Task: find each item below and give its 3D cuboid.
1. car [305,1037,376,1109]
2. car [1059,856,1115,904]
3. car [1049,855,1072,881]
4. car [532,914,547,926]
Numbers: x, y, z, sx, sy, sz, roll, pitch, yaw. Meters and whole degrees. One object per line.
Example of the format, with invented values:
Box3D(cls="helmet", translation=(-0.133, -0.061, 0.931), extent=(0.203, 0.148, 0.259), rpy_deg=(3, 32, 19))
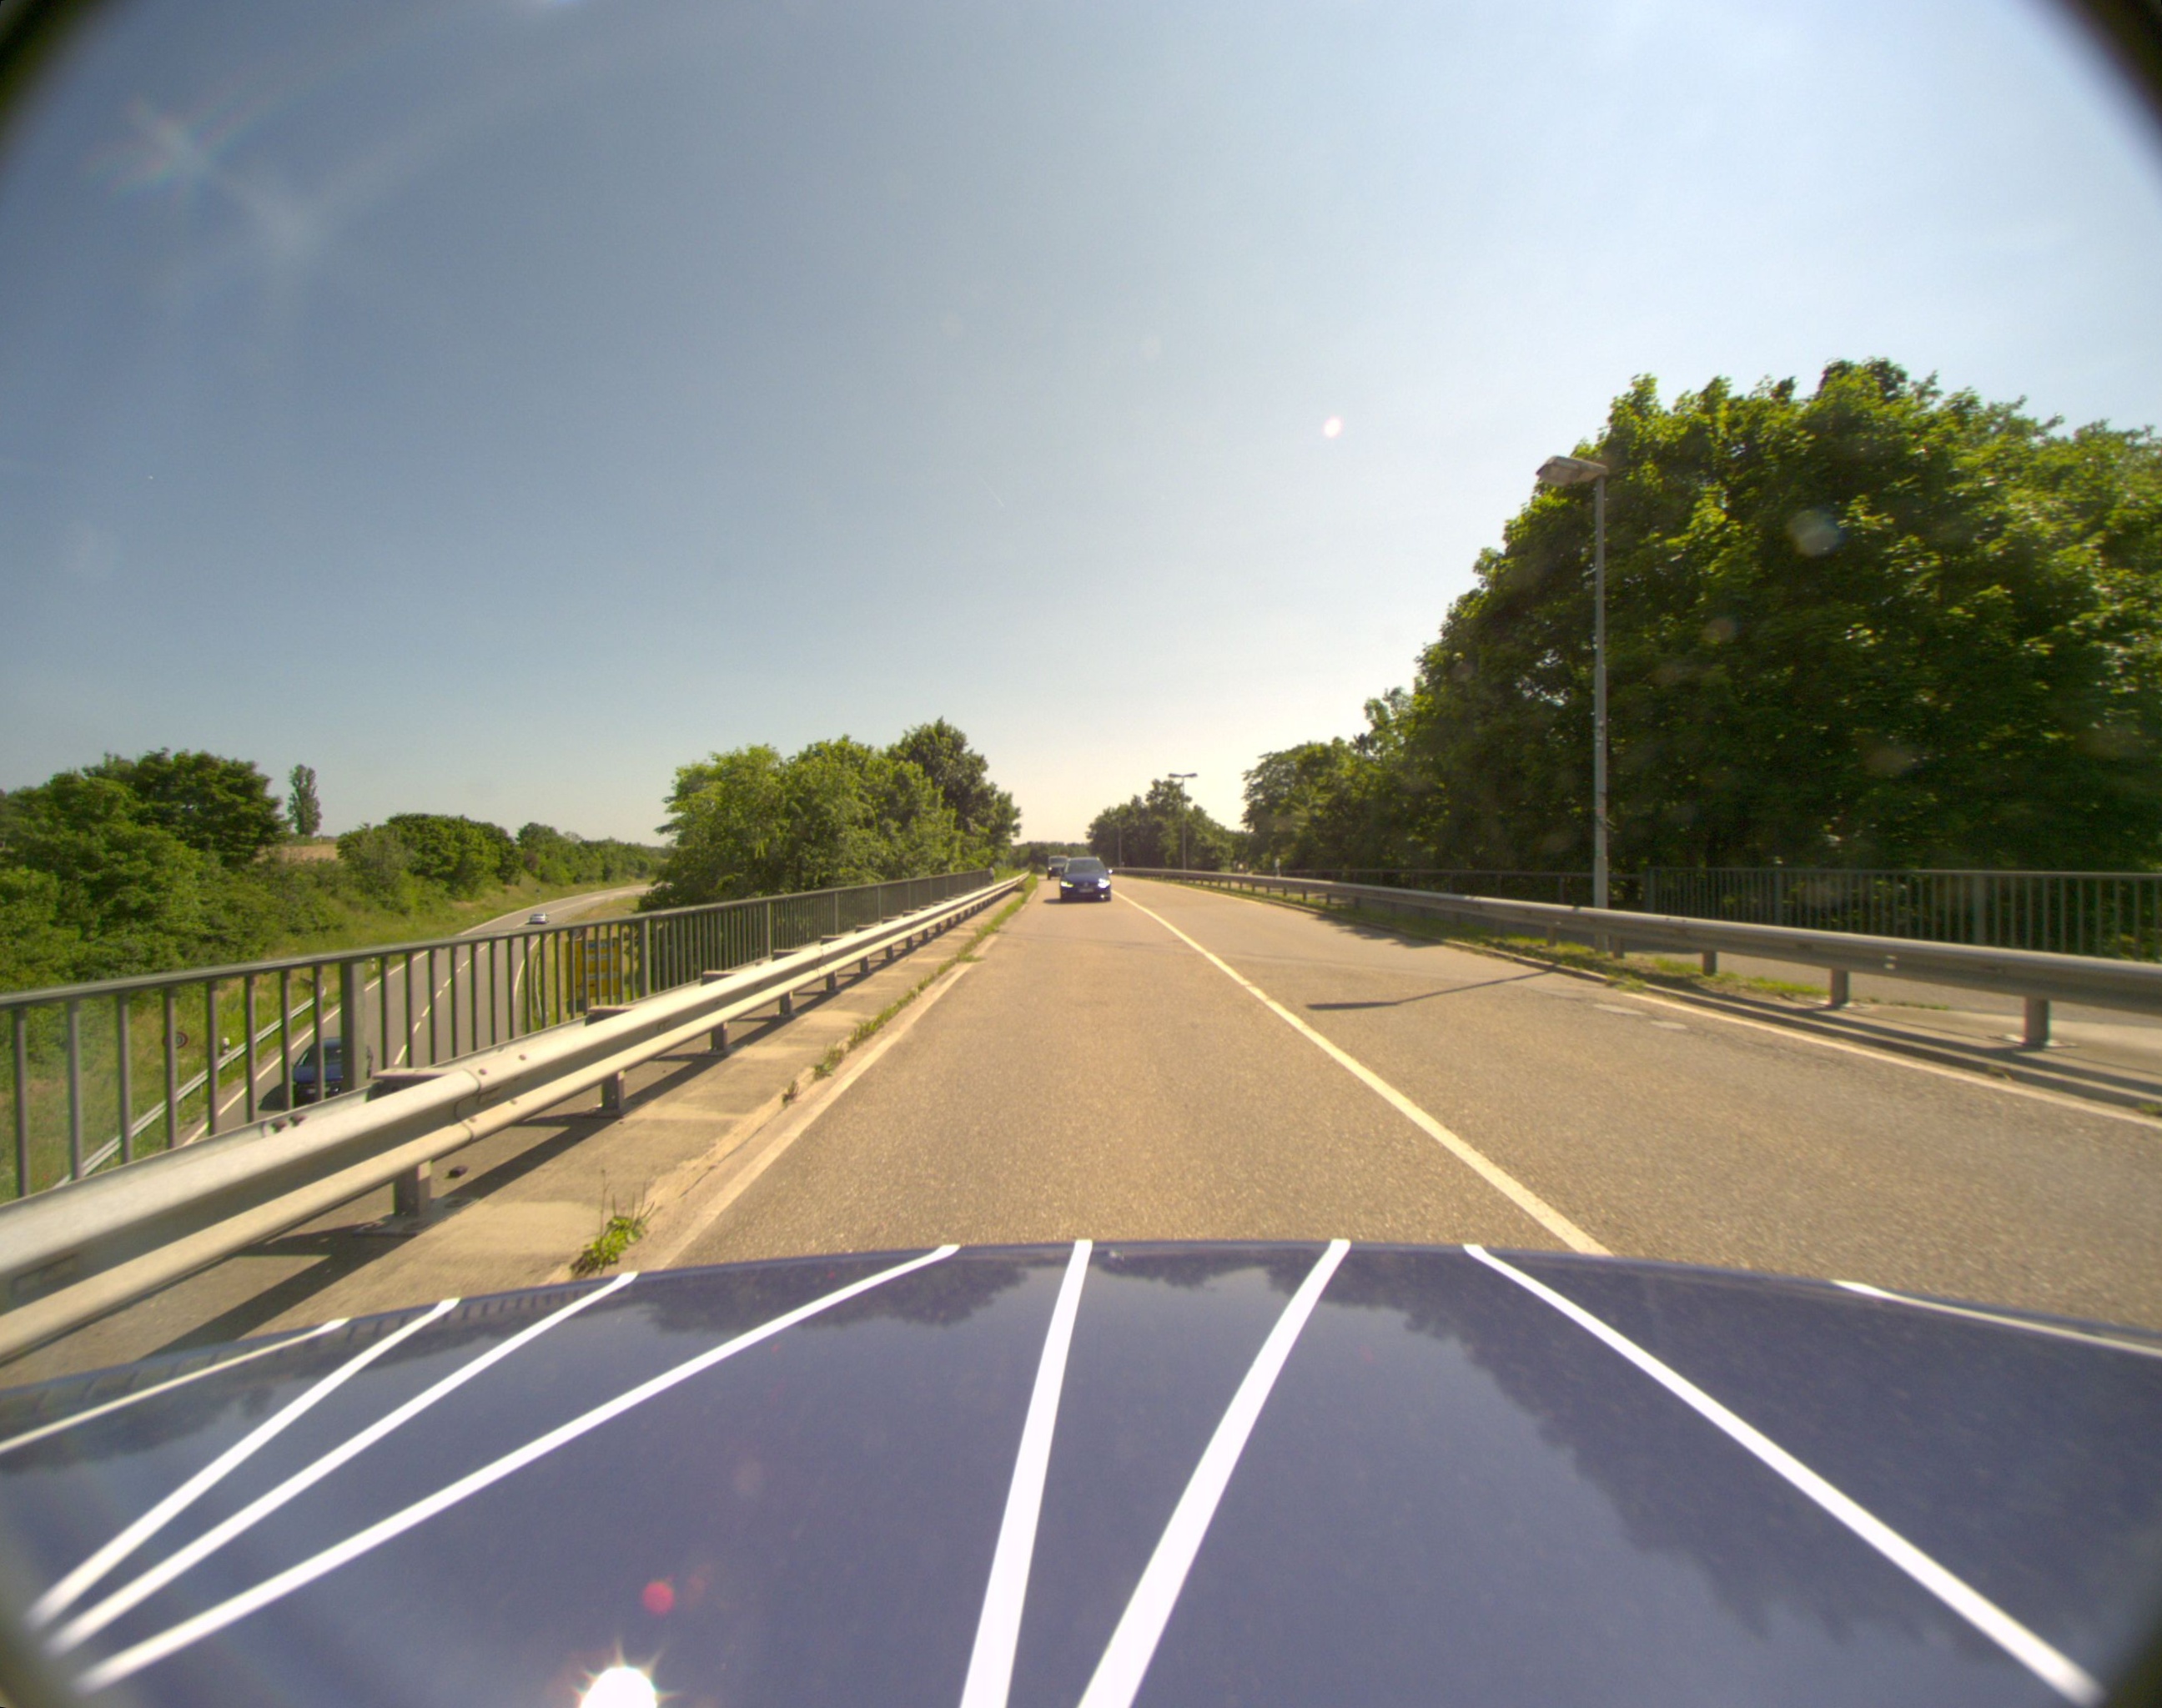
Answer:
Box3D(cls="car", translation=(-26.155, 7.665, 26.918), extent=(1.494, 1.567, 3.599), rpy_deg=(1, -2, -40))
Box3D(cls="car", translation=(0.144, 0.864, 27.484), extent=(1.829, 1.591, 4.194), rpy_deg=(1, 0, -2))
Box3D(cls="car", translation=(-1.709, 1.208, 63.638), extent=(1.779, 2.006, 4.001), rpy_deg=(-1, -2, -2))
Box3D(cls="car", translation=(-71.772, 8.736, 100.631), extent=(1.526, 1.189, 3.410), rpy_deg=(-1, 2, -37))
